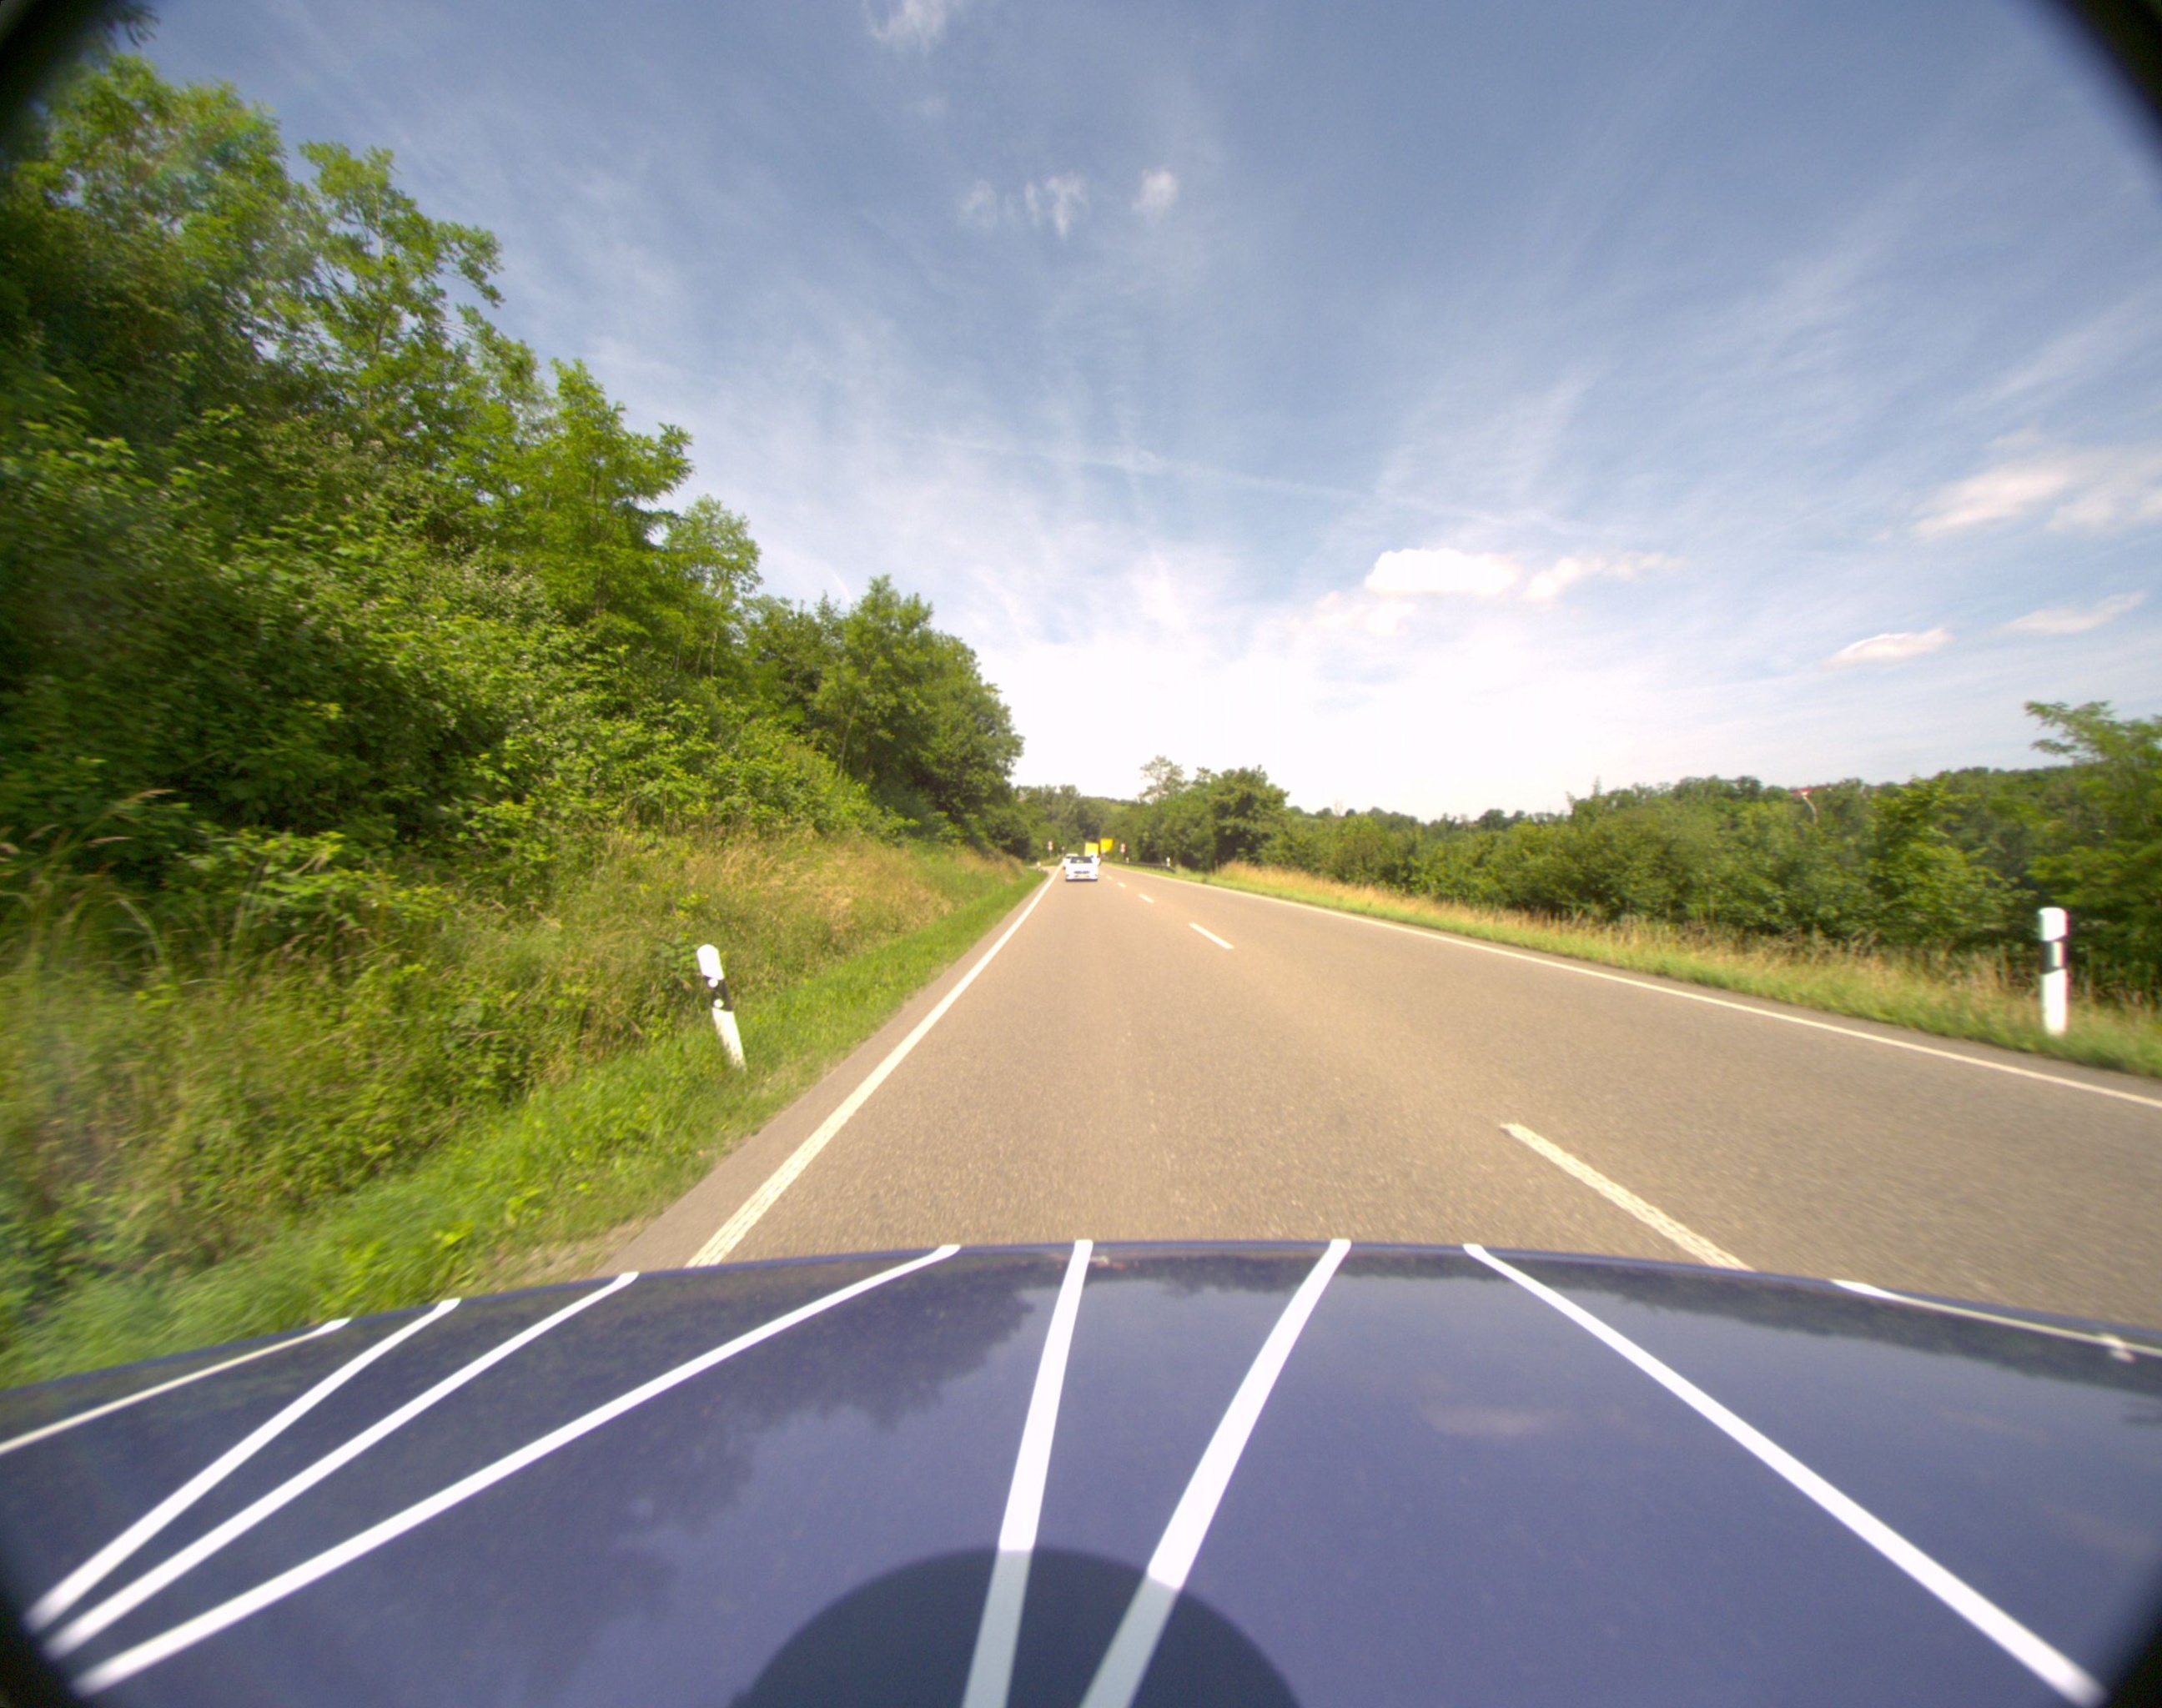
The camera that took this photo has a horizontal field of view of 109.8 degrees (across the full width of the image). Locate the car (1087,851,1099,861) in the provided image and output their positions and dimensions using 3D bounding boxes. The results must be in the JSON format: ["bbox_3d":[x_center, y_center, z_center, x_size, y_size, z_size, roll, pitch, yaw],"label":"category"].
[{"bbox_3d":[2.224,0.366,141.475,1.842,1.834,4.224,2,0,-1],"label":"car"}]

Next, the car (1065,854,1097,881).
[{"bbox_3d":[0.022,0.760,44.292,1.772,1.437,4.000,-2,0,0],"label":"car"}]

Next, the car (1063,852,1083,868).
[{"bbox_3d":[-0.818,0.575,75.717,1.866,1.480,3.999,0,0,-1],"label":"car"}]

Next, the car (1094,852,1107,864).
[{"bbox_3d":[3.053,0.576,120.487,1.842,1.834,4.224,2,0,-1],"label":"car"}]

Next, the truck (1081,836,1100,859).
[{"bbox_3d":[1.949,-1.264,158.252,3.339,4.503,8.575,2,0,-2],"label":"truck"}]
